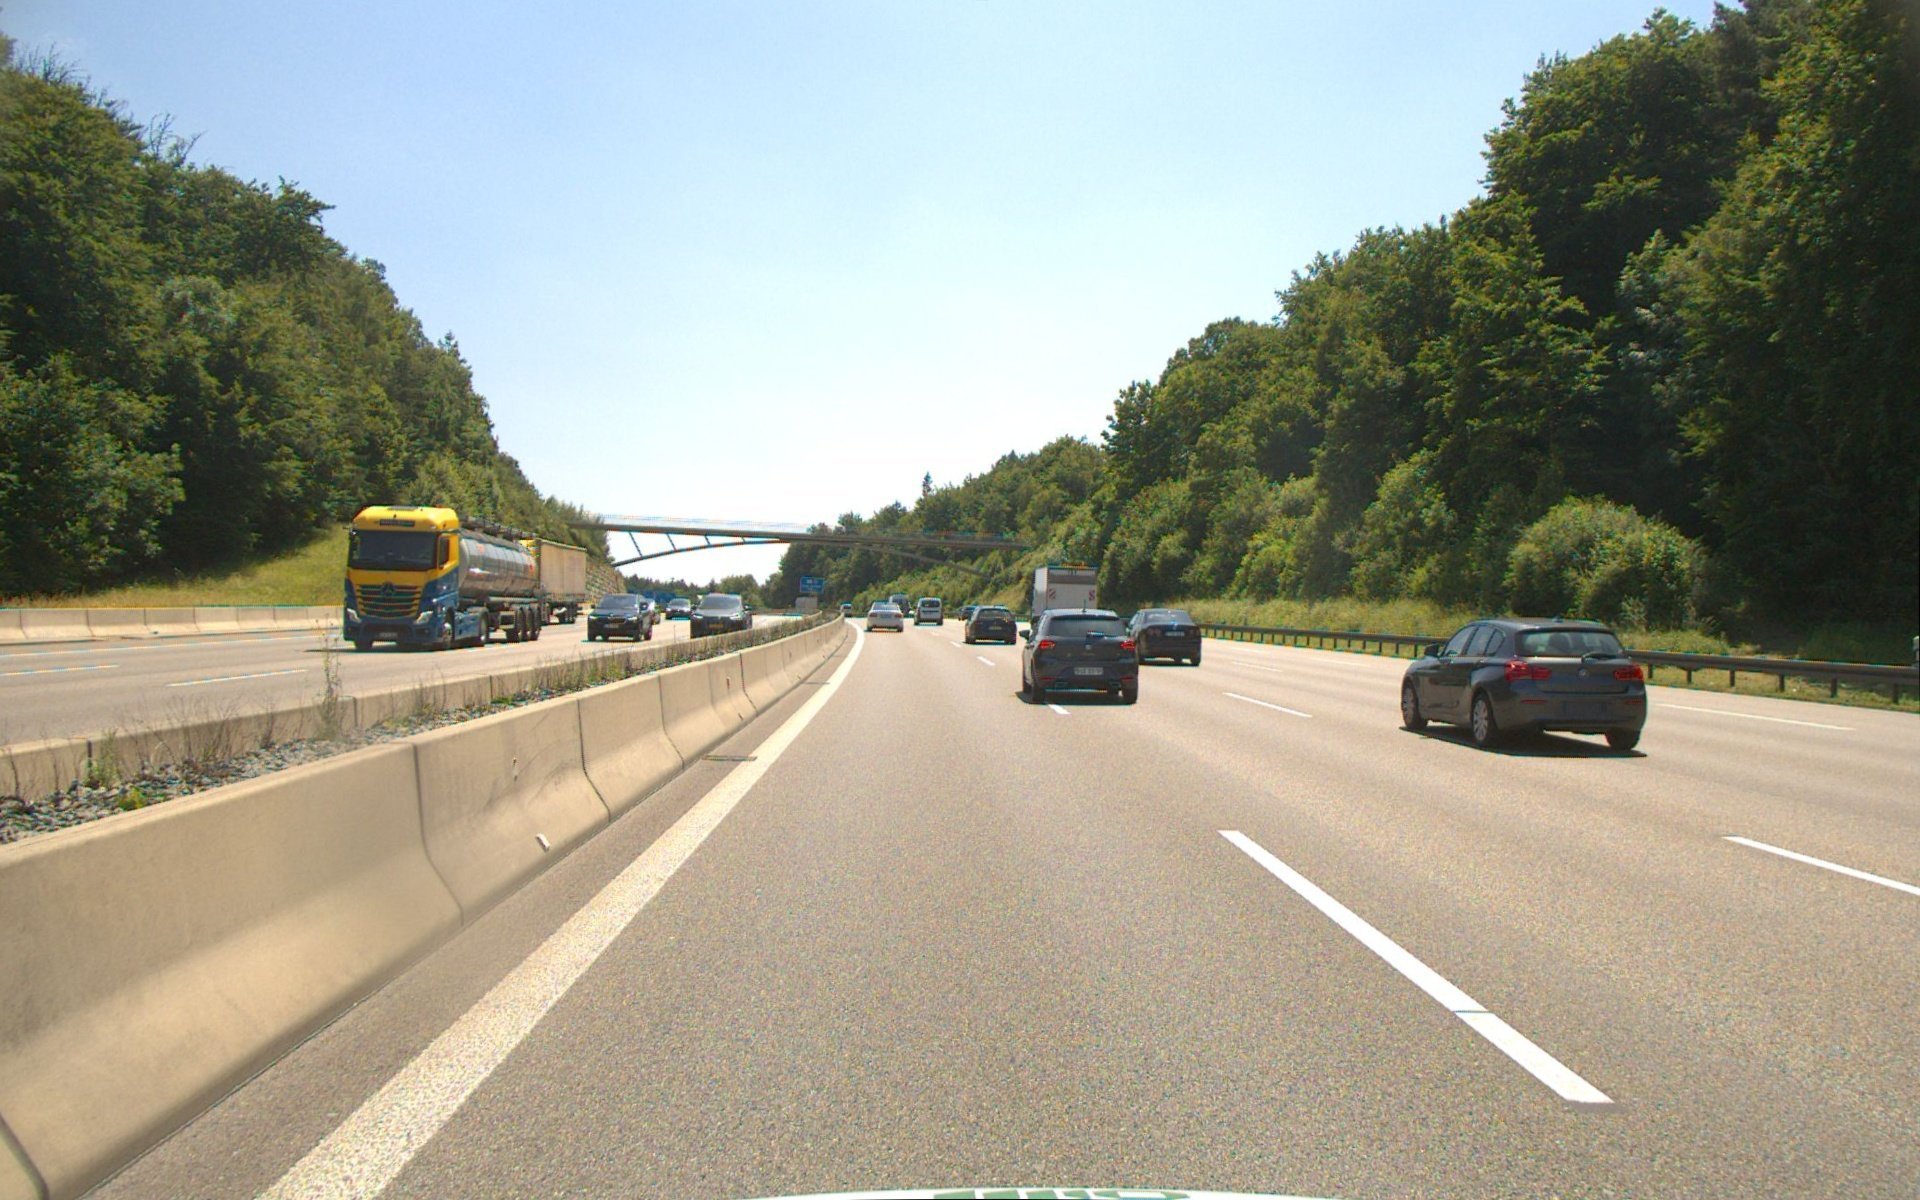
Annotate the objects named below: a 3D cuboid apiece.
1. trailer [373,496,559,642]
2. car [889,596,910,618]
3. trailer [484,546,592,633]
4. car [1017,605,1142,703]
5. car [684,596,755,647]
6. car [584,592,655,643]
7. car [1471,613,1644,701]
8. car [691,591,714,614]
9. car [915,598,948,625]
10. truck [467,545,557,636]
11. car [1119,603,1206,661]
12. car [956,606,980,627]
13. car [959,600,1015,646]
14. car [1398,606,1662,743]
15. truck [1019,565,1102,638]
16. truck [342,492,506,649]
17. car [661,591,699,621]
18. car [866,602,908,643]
[{"bbox_3d":[-14.897,-0.847,50.999,2.487,3.948,11.691,1,0,-2],"label":"trailer"},{"bbox_3d":[-6.813,0.824,186.315,2.220,2.413,4.699,1,-1,-3],"label":"car"},{"bbox_3d":[-21.506,-0.469,85.178,2.669,4.074,13.715,1,0,-3],"label":"trailer"},{"bbox_3d":[1.891,0.839,27.259,1.673,1.458,3.999,2,0,-1],"label":"car"},{"bbox_3d":[-8.524,0.739,58.944,1.953,1.735,4.951,1,0,-2],"label":"car"},{"bbox_3d":[-11.822,0.590,57.597,1.685,1.672,4.059,1,0,-1],"label":"car"},{"bbox_3d":[10.834,0.995,30.299,1.513,1.469,4.339,1,-1,-1],"label":"car"},{"bbox_3d":[-28.063,0.258,180.551,1.954,2.377,5.539,1,0,-4],"label":"car"},{"bbox_3d":[-1.968,0.772,112.678,2.061,1.775,4.684,1,0,-4],"label":"car"},{"bbox_3d":[-21.124,-0.431,78.304,2.696,4.088,6.747,1,0,-3],"label":"truck"},{"bbox_3d":[5.391,0.811,44.517,1.631,1.433,4.902,1,0,-1],"label":"car"},{"bbox_3d":[0.775,1.602,158.762,2.102,1.890,3.999,2,0,-1],"label":"car"},{"bbox_3d":[1.004,0.865,63.907,1.953,1.662,4.758,1,0,-2],"label":"car"},{"bbox_3d":[6.584,0.800,19.580,1.667,1.420,4.153,1,0,0],"label":"car"},{"bbox_3d":[4.701,0.065,78.661,2.927,3.222,7.568,1,0,-4],"label":"truck"},{"bbox_3d":[-14.743,-0.762,46.022,2.480,4.009,6.798,1,0,-2],"label":"truck"},{"bbox_3d":[-19.377,0.420,114.625,1.954,1.904,5.247,2,-1,-4],"label":"car"},{"bbox_3d":[-3.671,1.162,83.688,1.971,1.878,3.998,1,-4,-1],"label":"car"}]
